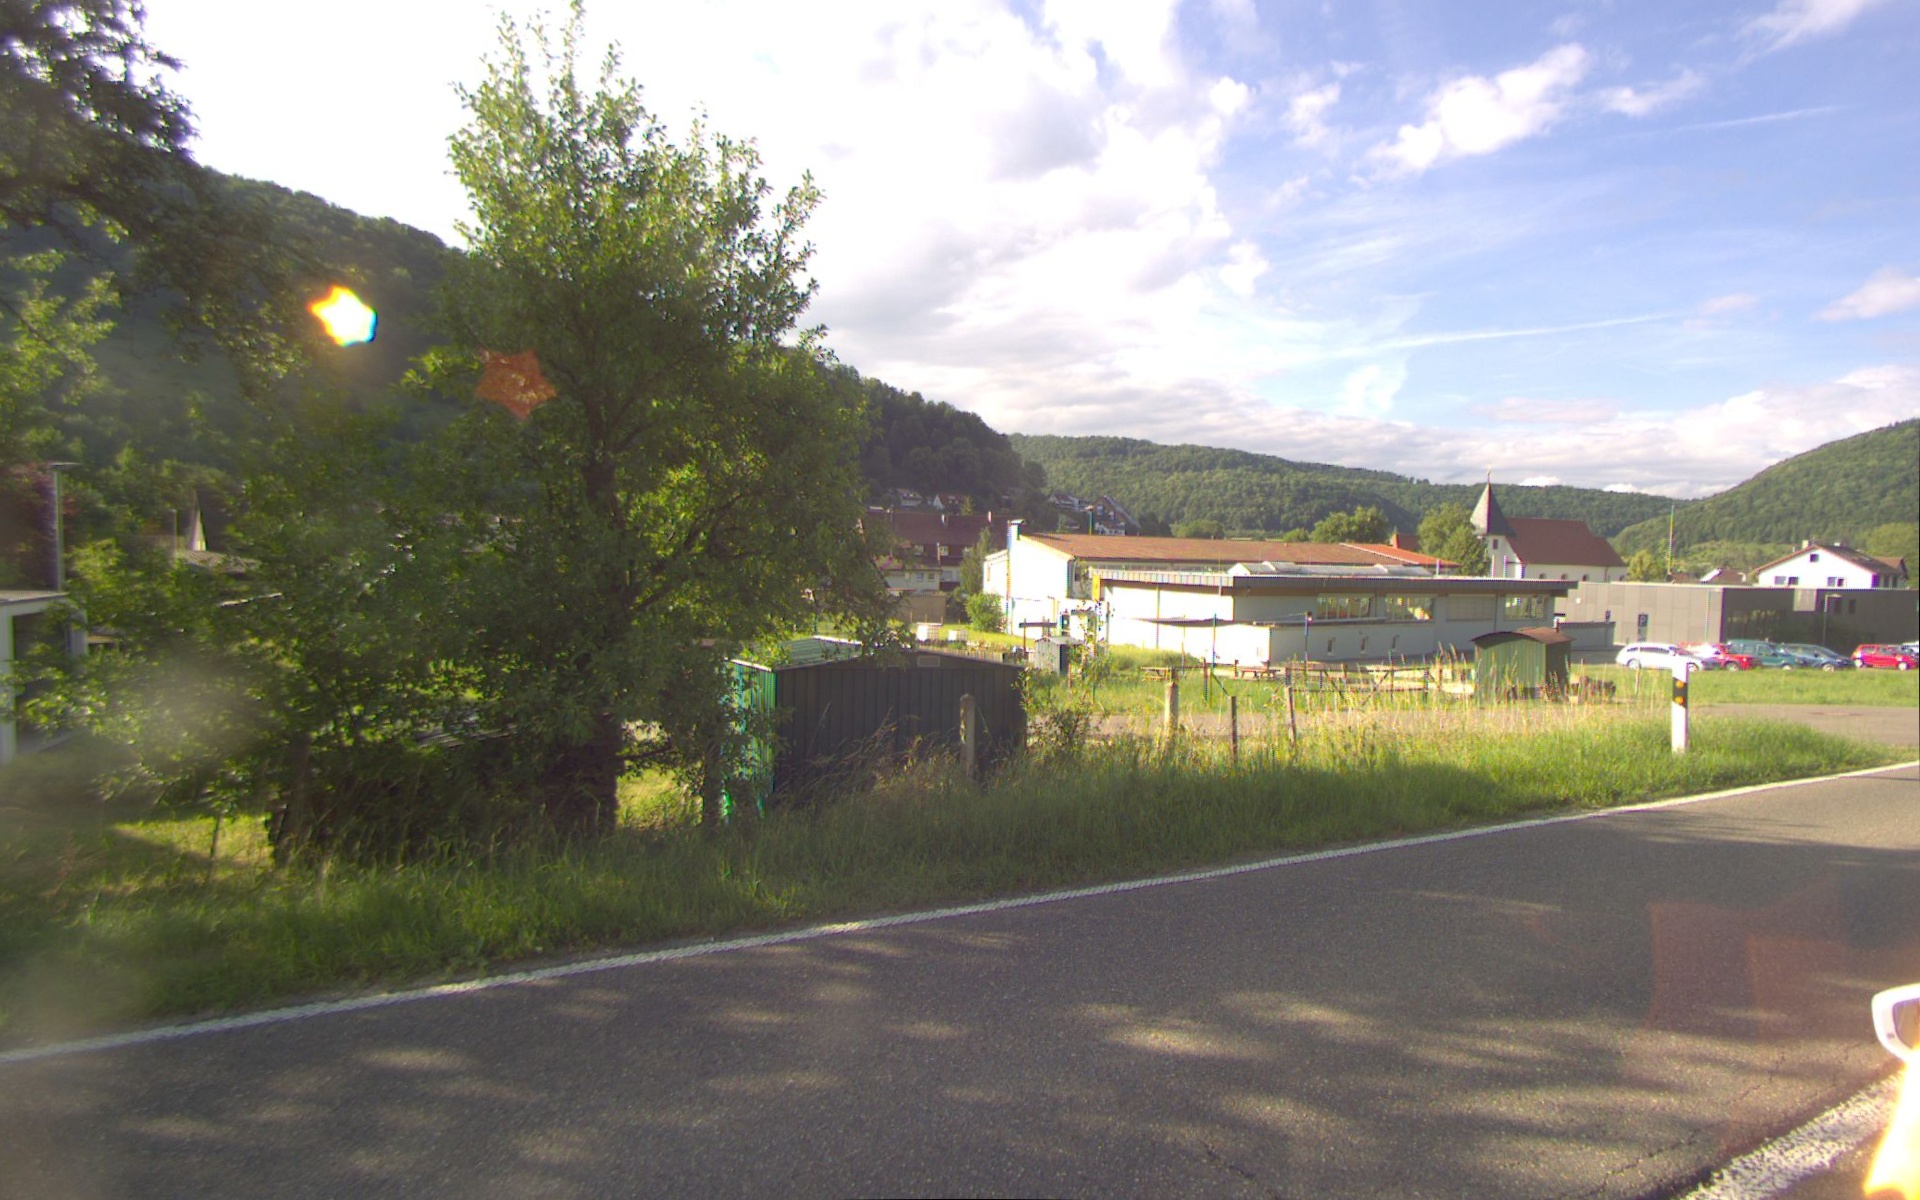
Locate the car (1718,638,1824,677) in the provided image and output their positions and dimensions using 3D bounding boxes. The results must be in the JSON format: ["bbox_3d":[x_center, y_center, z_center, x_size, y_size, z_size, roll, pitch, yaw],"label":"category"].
[{"bbox_3d":[47.229,3.318,58.577,1.978,2.034,4.382,2,0,-32],"label":"car"}]

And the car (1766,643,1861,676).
[{"bbox_3d":[51.284,3.529,60.429,1.978,1.733,3.965,2,0,-32],"label":"car"}]

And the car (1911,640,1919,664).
[{"bbox_3d":[70.108,3.774,70.859,1.978,1.733,3.965,2,0,-32],"label":"car"}]

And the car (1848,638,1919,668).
[{"bbox_3d":[60.373,3.426,65.017,1.978,1.733,3.965,2,0,-32],"label":"car"}]

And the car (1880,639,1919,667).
[{"bbox_3d":[64.385,3.567,67.042,1.978,1.733,3.965,2,0,-32],"label":"car"}]

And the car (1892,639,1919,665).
[{"bbox_3d":[67.265,3.673,69.297,1.978,1.733,3.965,2,0,-32],"label":"car"}]

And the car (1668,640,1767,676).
[{"bbox_3d":[42.134,3.208,55.931,1.978,1.733,3.965,2,0,-32],"label":"car"}]

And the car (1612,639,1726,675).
[{"bbox_3d":[39.033,3.105,55.405,1.978,1.733,4.705,2,0,-31],"label":"car"}]
